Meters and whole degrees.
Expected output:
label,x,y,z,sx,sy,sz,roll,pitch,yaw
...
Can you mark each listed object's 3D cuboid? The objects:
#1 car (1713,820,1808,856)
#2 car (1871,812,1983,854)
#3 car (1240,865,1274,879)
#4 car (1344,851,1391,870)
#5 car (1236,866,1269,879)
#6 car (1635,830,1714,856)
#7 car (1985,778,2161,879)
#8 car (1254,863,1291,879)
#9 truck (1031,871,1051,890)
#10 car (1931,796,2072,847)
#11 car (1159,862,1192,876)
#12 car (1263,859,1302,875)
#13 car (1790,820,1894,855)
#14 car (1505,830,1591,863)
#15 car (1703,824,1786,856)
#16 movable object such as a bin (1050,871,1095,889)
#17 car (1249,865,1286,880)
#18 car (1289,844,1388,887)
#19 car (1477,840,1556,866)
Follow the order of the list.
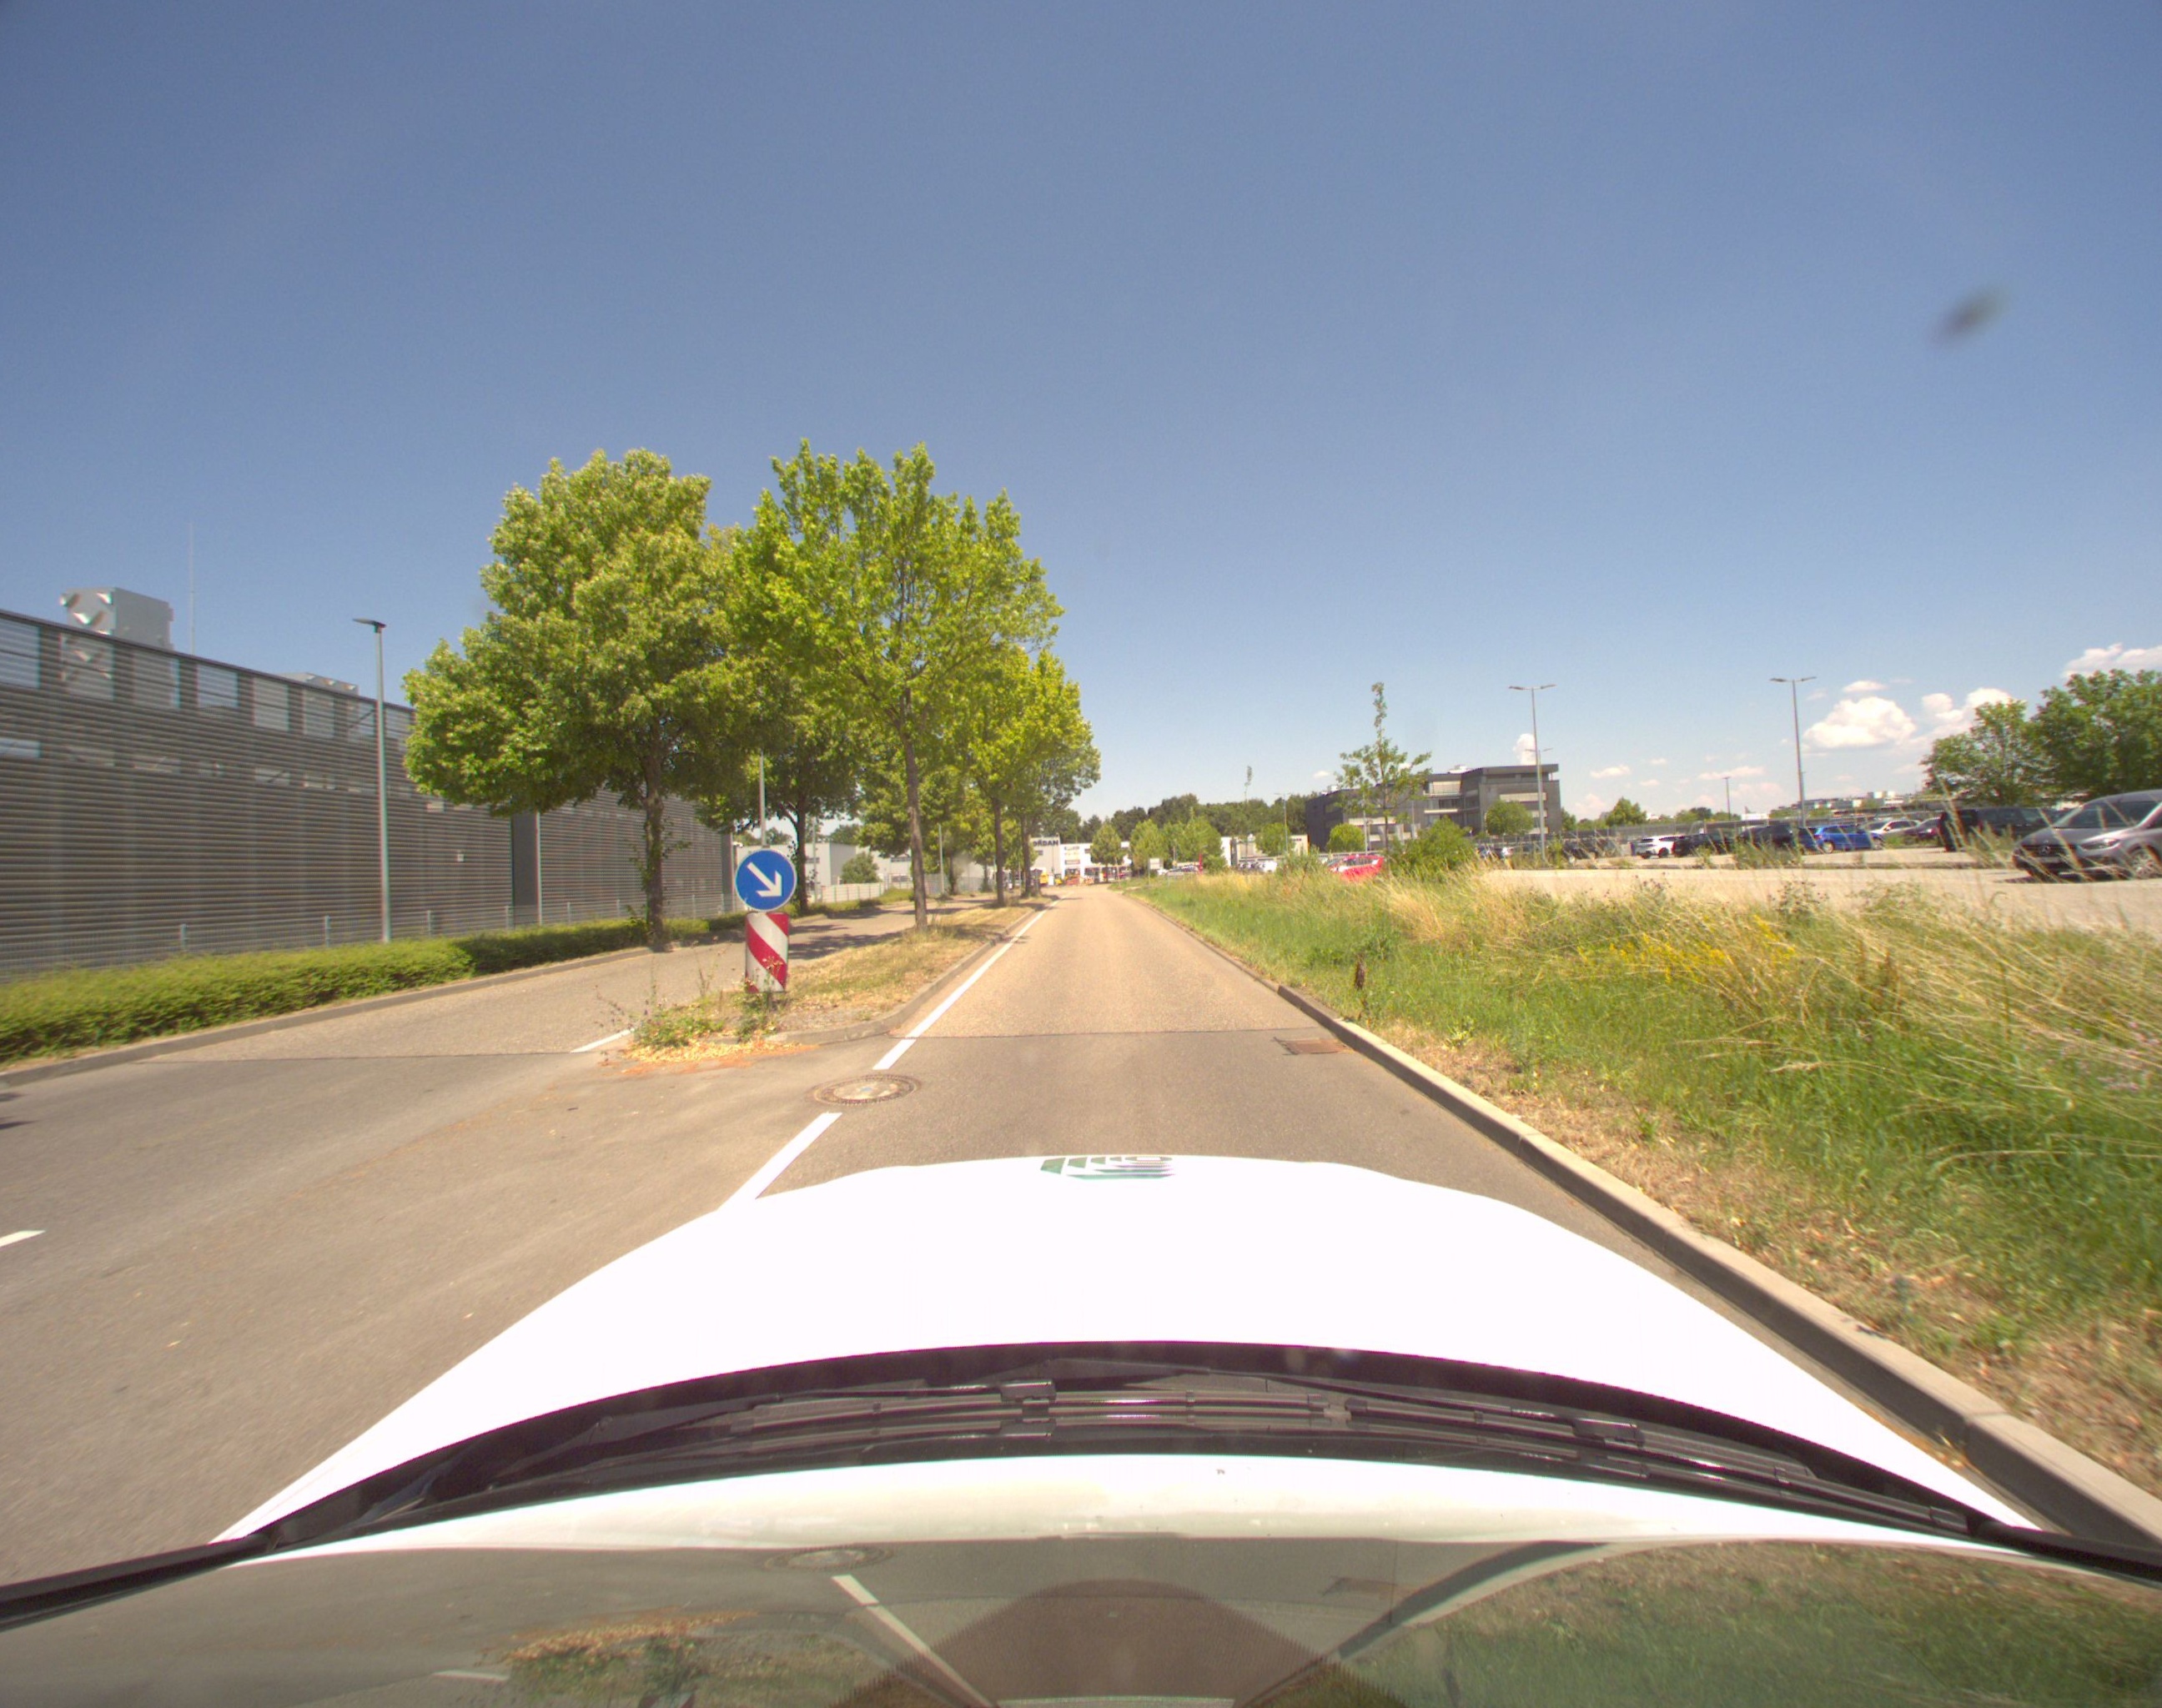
label,x,y,z,sx,sy,sz,roll,pitch,yaw
car,37.731,-0.894,45.236,3.991,1.639,1.992,-5,2,-12
car,44.579,-1.103,42.970,3.980,1.881,1.997,-4,2,-5
car,23.023,2.354,106.846,3.979,1.400,1.767,-4,2,-4
car,28.621,0.617,81.363,3.979,1.595,1.859,-4,2,-4
car,23.070,2.467,109.542,3.979,1.400,1.767,-4,2,-4
car,38.944,-0.709,53.473,3.980,1.341,1.693,-4,-2,-5
car,22.526,-0.621,17.331,4.451,1.914,1.938,-4,0,-2
car,22.714,2.006,96.638,3.979,1.400,1.767,-4,2,-4
truck,-7.393,4.854,149.205,2.937,2.885,5.793,-4,2,-8
car,38.562,-1.343,34.170,3.978,1.757,1.756,-4,-1,-3
car,12.621,2.023,108.772,4.154,1.400,1.767,-4,2,-4
car,23.133,1.496,93.685,3.977,1.400,1.767,-4,2,-3
car,38.753,-0.865,41.513,3.790,1.464,1.731,-4,2,-5
car,28.060,-0.434,49.011,3.974,1.641,1.926,-4,-2,0
car,42.014,-0.890,51.605,3.991,1.639,1.992,-5,2,-12
movable object such as a bin,-1.525,4.700,149.237,7.484,2.499,3.675,-4,2,8
car,22.781,2.259,99.709,3.979,1.490,1.767,-4,2,-4
car,12.051,0.540,38.302,3.974,1.724,1.926,-4,-2,0
car,28.074,-0.052,52.603,3.974,1.395,1.926,-4,-2,0
